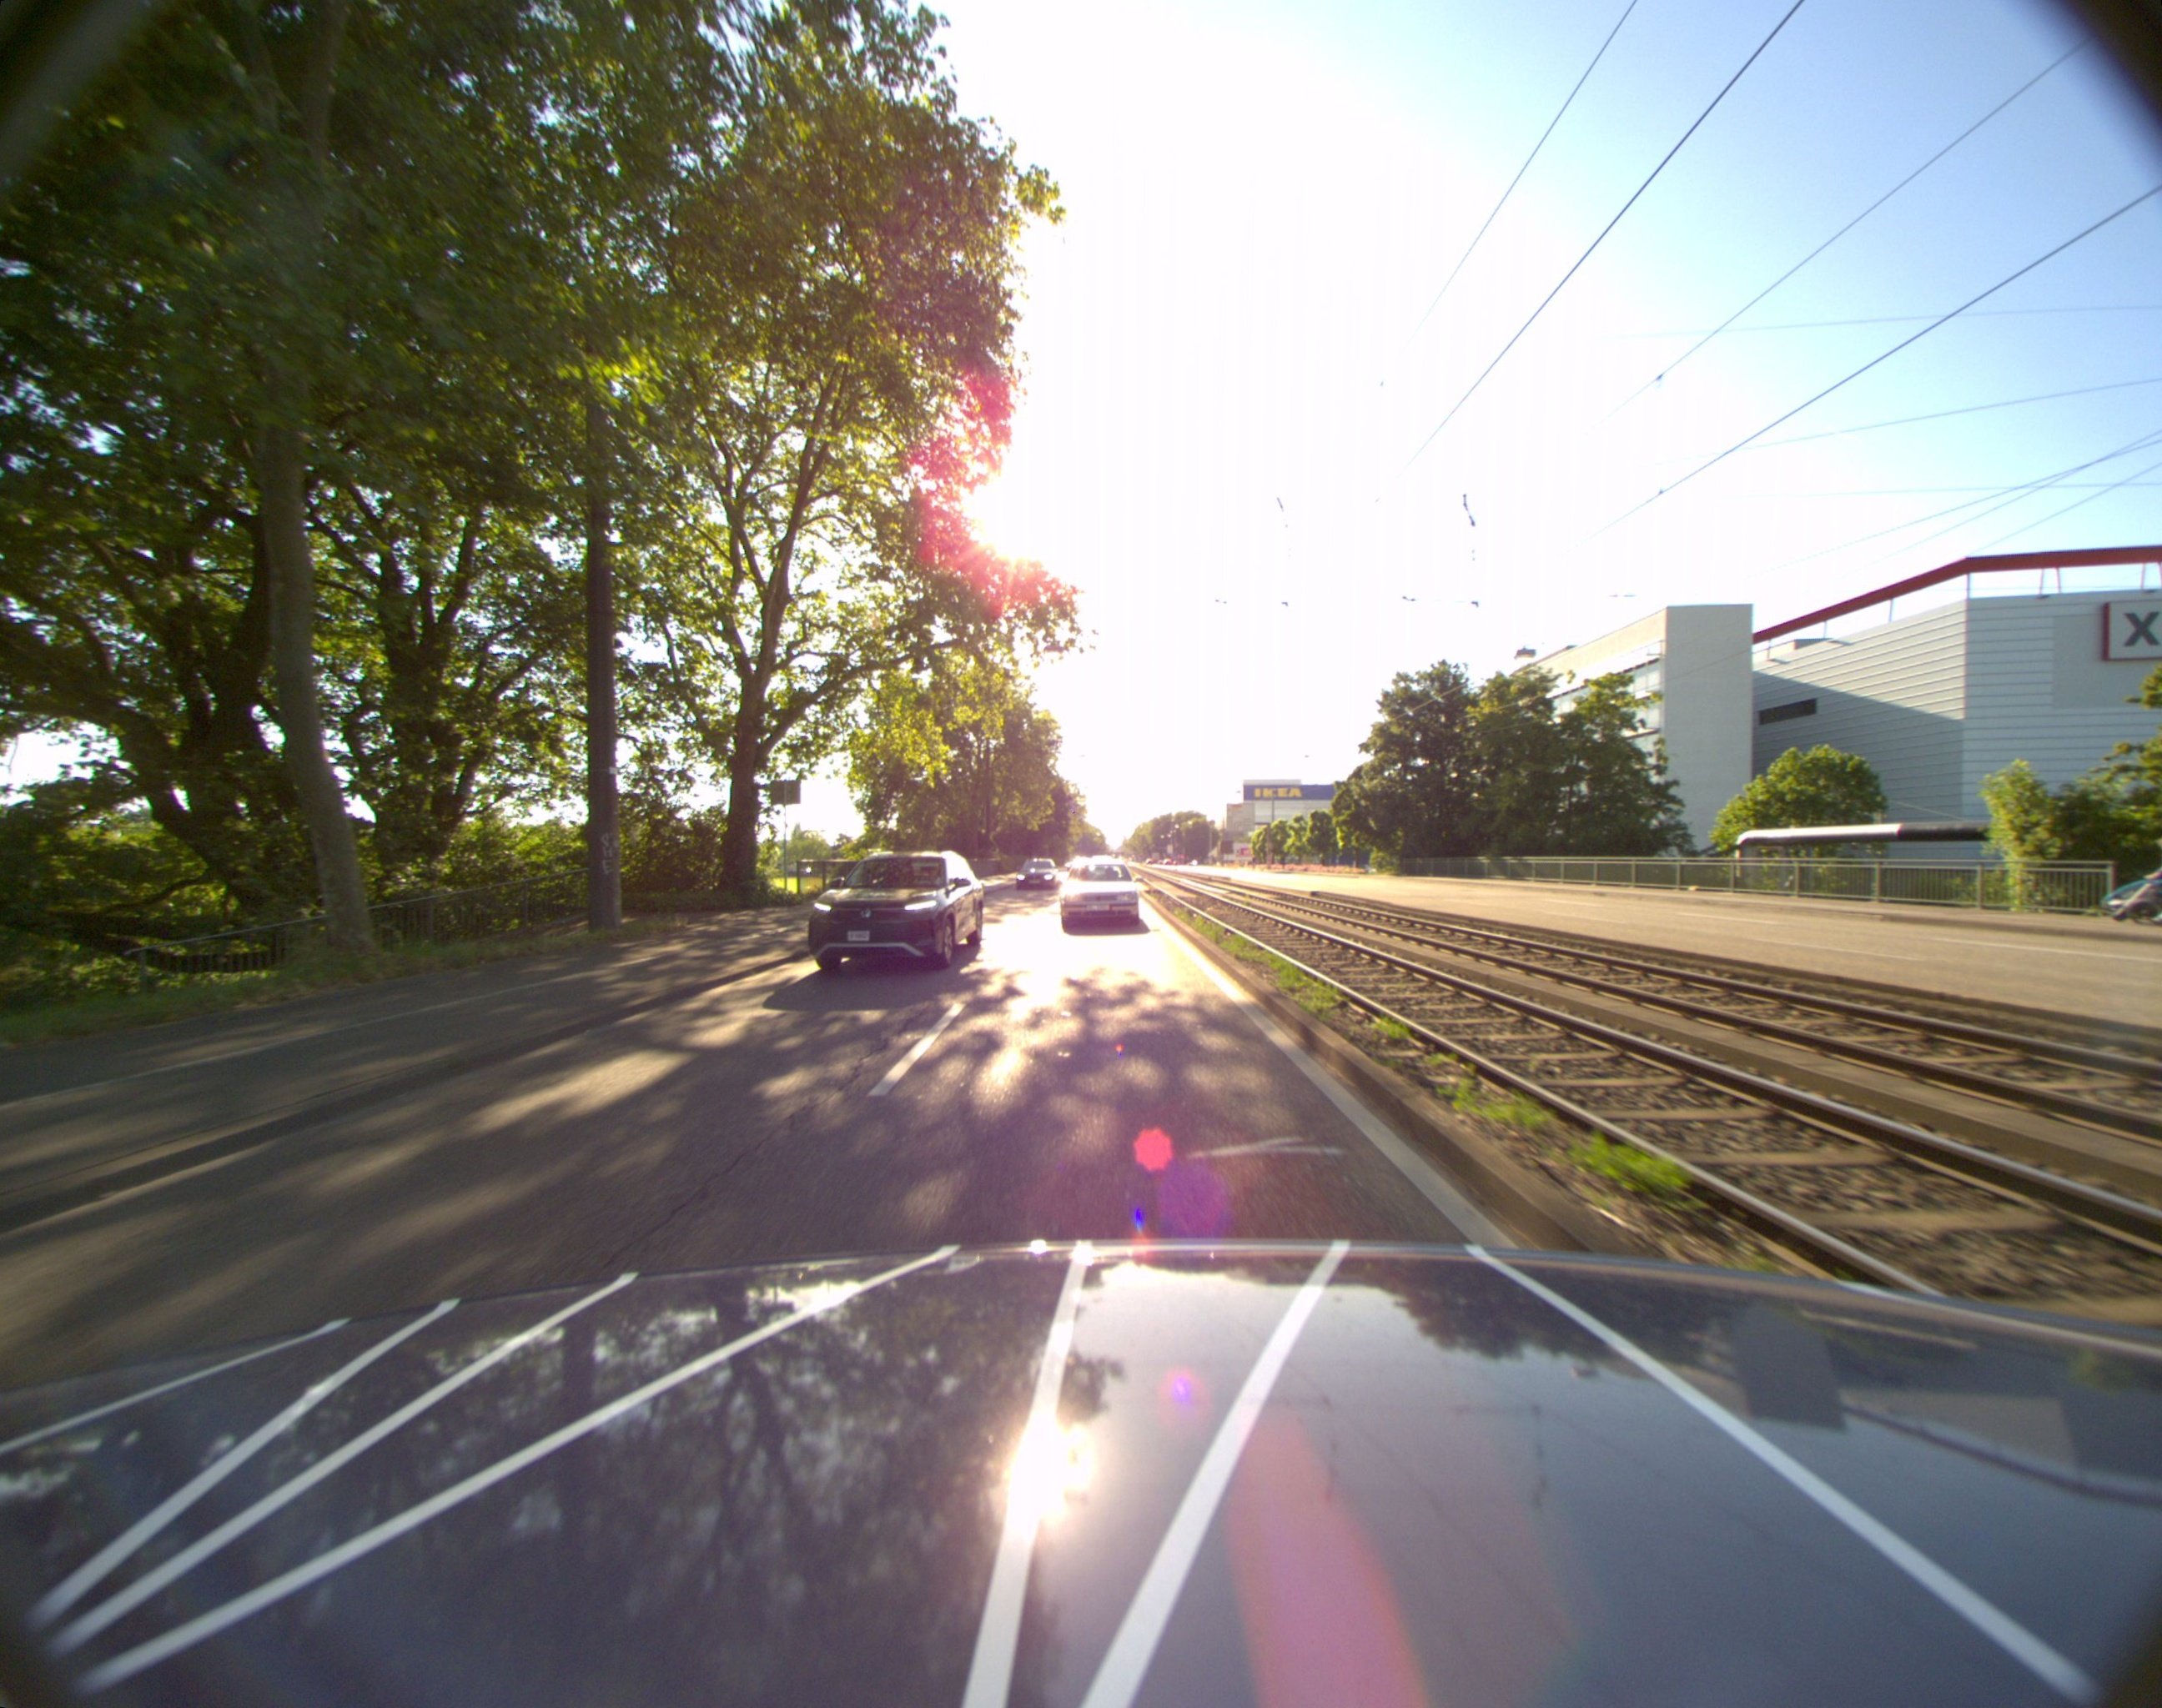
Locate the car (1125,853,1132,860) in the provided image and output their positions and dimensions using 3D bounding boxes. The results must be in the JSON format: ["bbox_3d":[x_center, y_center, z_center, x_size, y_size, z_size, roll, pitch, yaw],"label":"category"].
[{"bbox_3d":[15.035,0.759,240.108,1.997,2.281,4.002,0,0,7],"label":"car"}]

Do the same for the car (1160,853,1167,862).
[{"bbox_3d":[23.983,1.039,220.170,1.997,2.281,4.002,-2,0,7],"label":"car"}]

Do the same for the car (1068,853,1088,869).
[{"bbox_3d":[-0.277,0.665,77.270,1.881,1.449,4.416,-1,1,2],"label":"car"}]

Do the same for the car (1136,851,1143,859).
[{"bbox_3d":[18.514,0.223,239.781,1.997,2.281,4.002,-2,0,7],"label":"car"}]

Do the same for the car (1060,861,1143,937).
[{"bbox_3d":[0.473,0.946,17.684,1.695,1.437,4.001,-1,1,1],"label":"car"}]

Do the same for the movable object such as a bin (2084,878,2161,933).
[{"bbox_3d":[20.606,0.993,14.832,0.614,0.960,1.083,-2,1,1],"label":"movable object such as a bin"}]

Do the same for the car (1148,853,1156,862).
[{"bbox_3d":[20.211,0.991,217.153,1.997,2.281,4.002,-2,0,7],"label":"car"}]

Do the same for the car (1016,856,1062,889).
[{"bbox_3d":[-1.950,0.847,36.306,1.874,1.405,4.001,-1,1,1],"label":"car"}]

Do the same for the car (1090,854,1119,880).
[{"bbox_3d":[1.626,0.863,52.046,1.881,1.591,4.416,-1,1,2],"label":"car"}]

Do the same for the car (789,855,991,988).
[{"bbox_3d":[-2.688,0.864,11.864,1.881,1.591,4.416,-1,1,2],"label":"car"}]

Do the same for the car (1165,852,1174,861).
[{"bbox_3d":[22.327,0.623,191.121,1.997,2.281,4.002,-2,0,7],"label":"car"}]

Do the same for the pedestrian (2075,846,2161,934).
[{"bbox_3d":[20.601,0.675,14.970,0.614,1.638,1.083,-2,1,1],"label":"pedestrian"}]
